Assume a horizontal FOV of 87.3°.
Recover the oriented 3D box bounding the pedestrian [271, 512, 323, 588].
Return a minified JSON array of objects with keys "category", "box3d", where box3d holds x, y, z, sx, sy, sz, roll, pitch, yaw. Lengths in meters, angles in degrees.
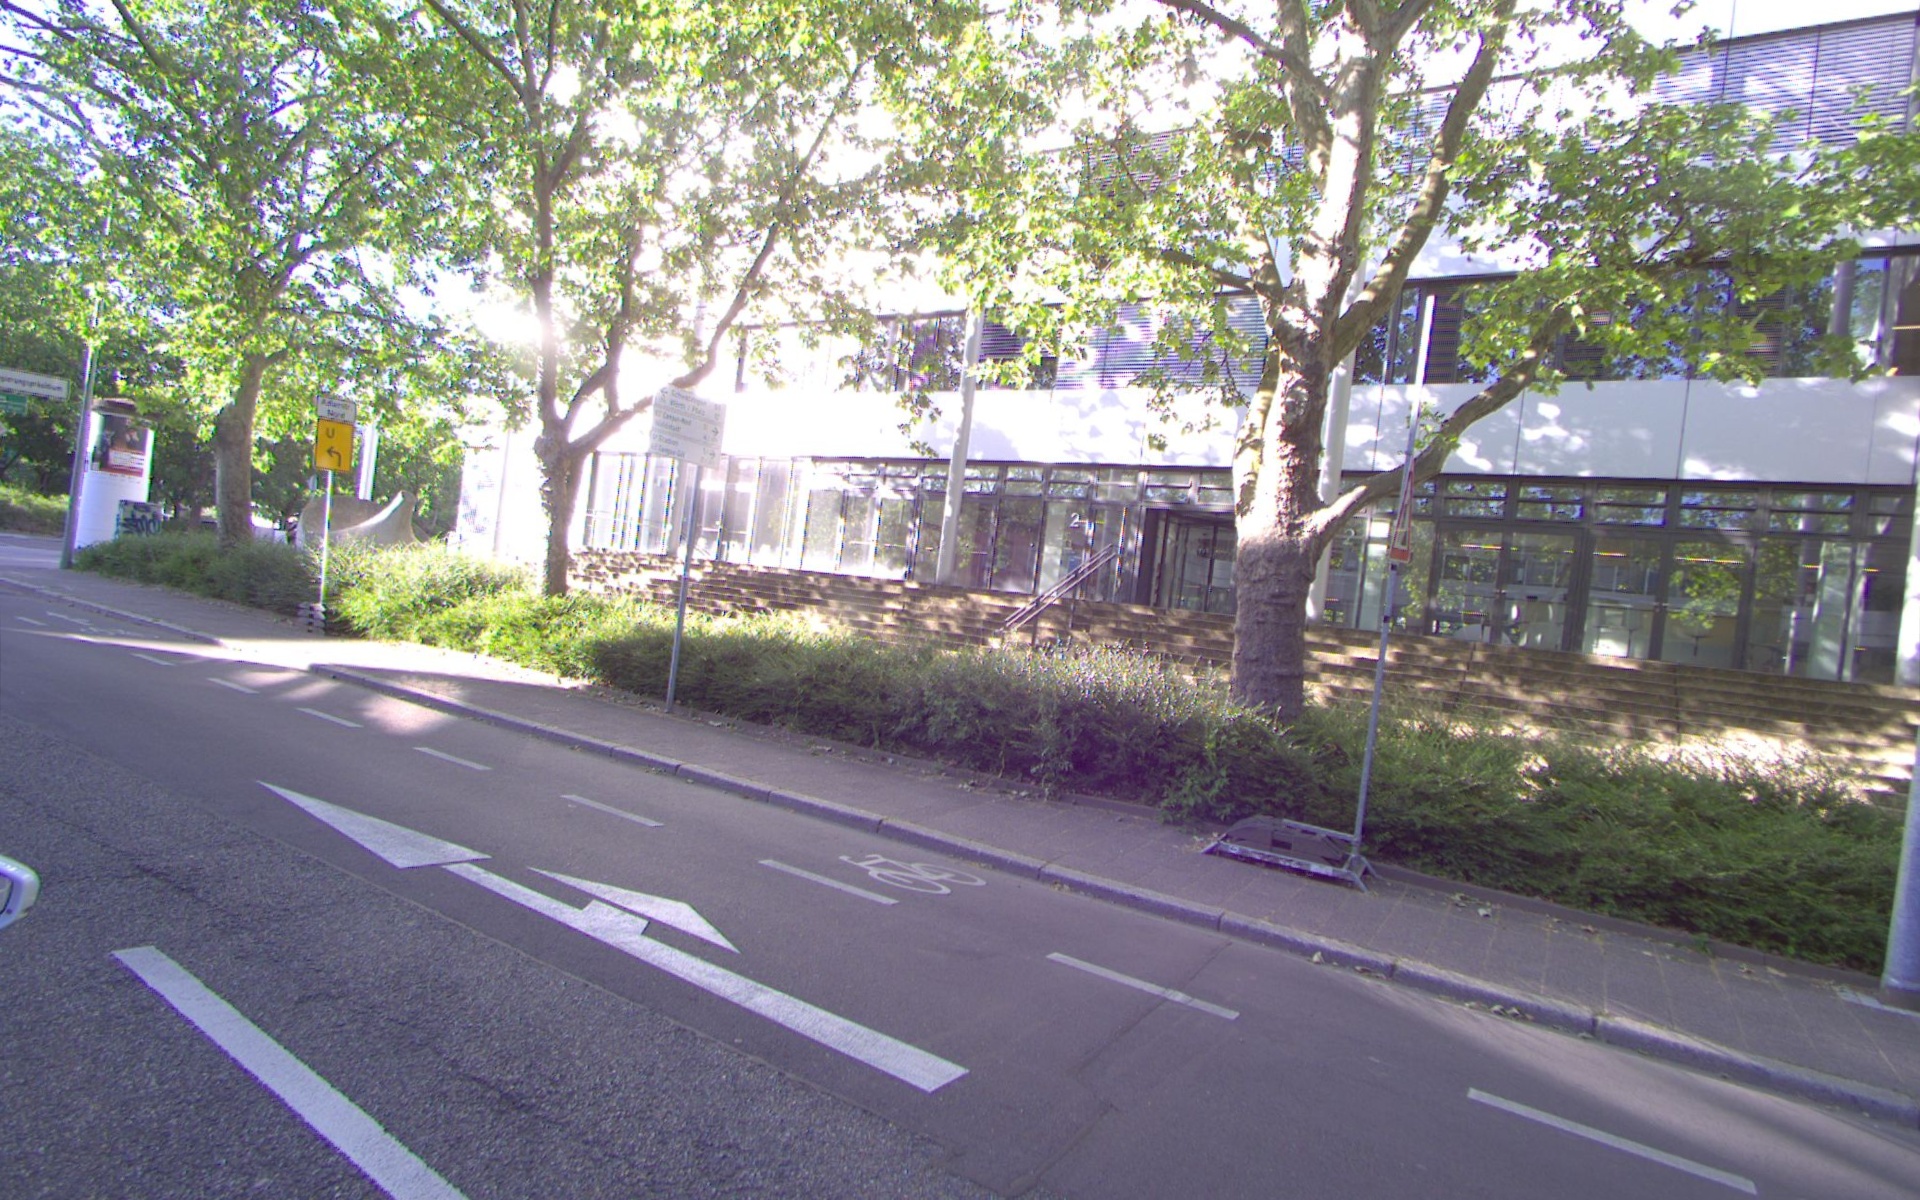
[{"category":"pedestrian","box3d":[-16.829,-1.275,25.530,0.719,1.799,0.735,6,-1,40]}]
